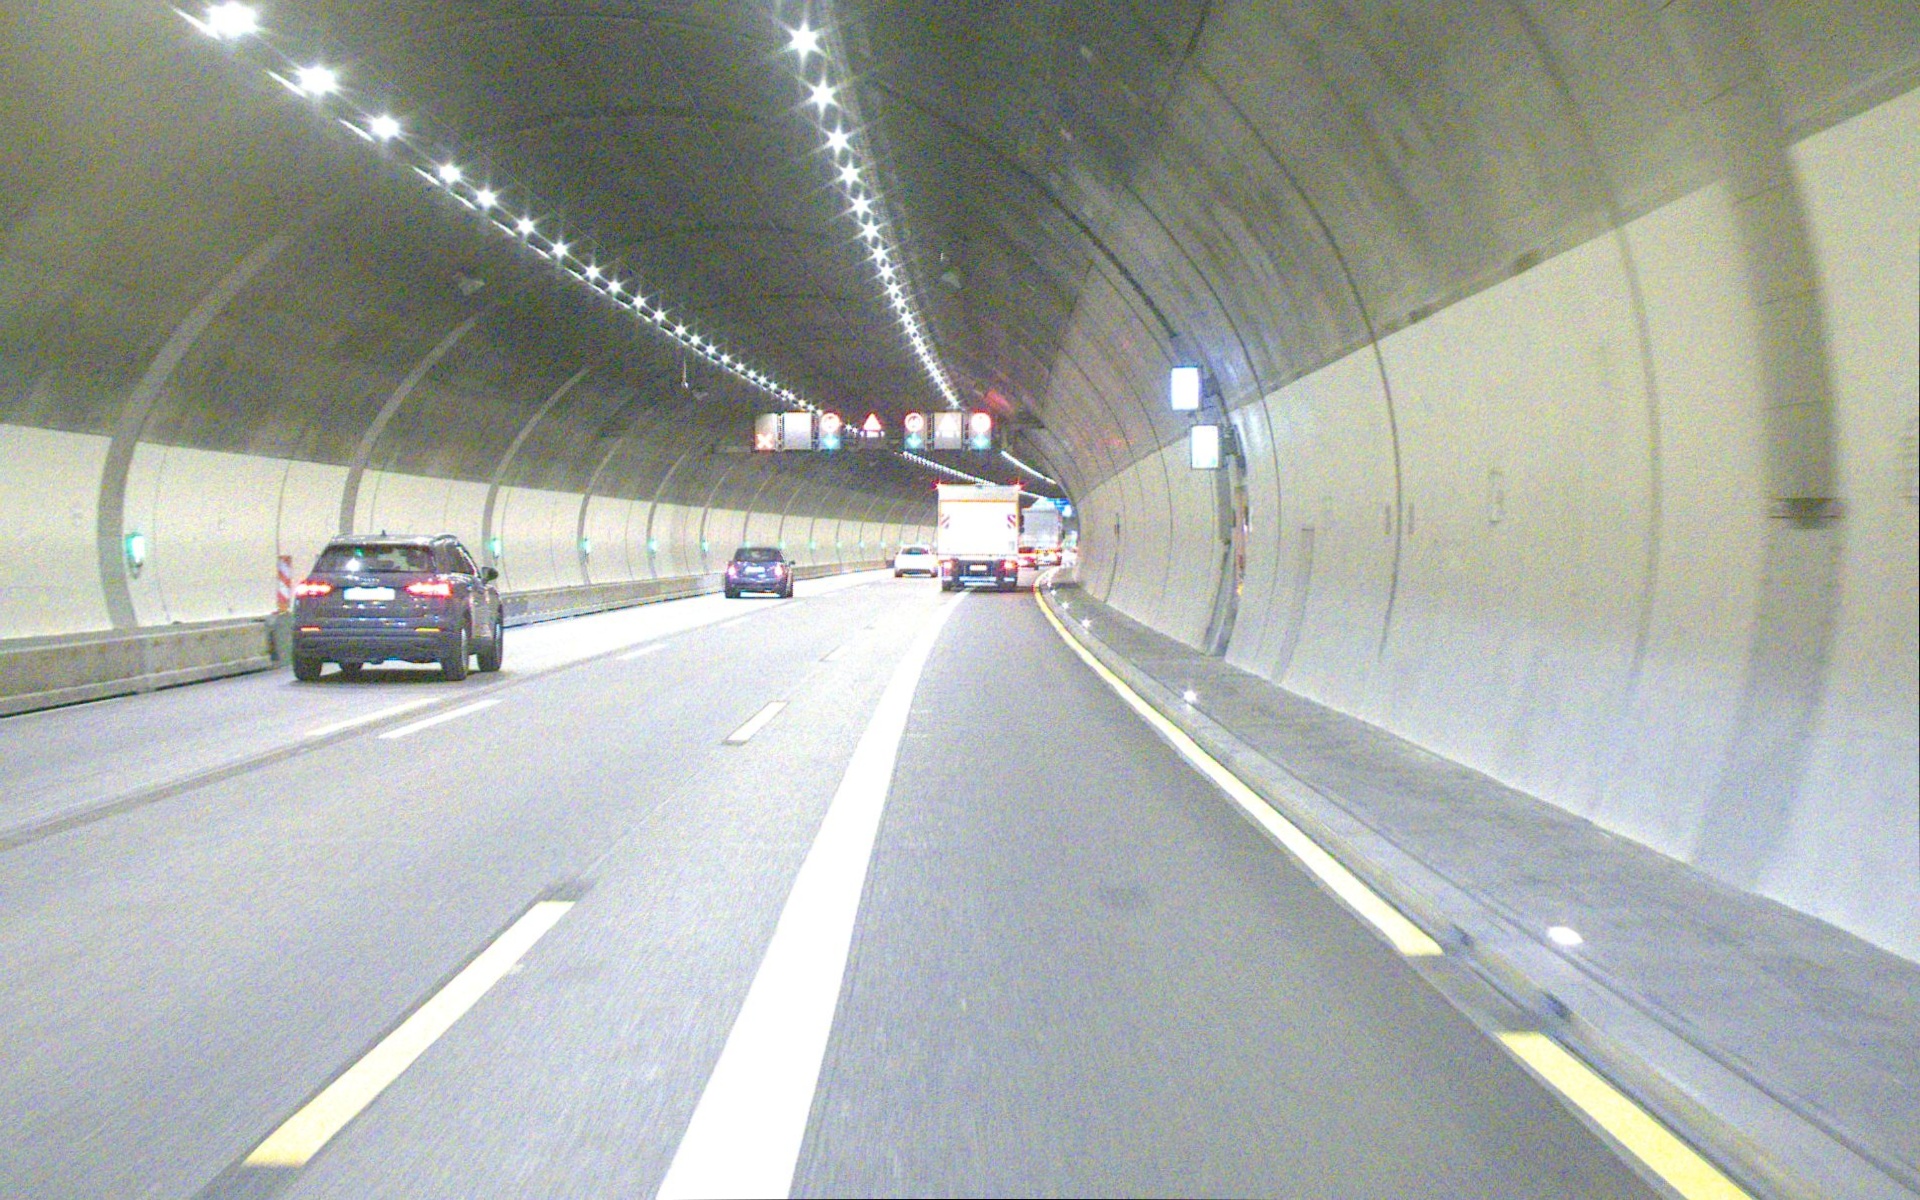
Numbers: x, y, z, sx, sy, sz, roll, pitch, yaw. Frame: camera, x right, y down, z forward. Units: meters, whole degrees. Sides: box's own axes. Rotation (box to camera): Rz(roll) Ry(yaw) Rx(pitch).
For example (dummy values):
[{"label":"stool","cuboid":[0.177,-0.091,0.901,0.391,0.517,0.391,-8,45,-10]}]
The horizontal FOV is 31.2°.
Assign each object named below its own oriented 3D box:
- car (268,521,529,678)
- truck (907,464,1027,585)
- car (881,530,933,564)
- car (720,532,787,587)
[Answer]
[{"label":"car","cuboid":[-6.113,-0.030,37.985,1.993,1.535,4.742,3,1,1]},{"label":"truck","cuboid":[0.138,-2.483,113.280,3.592,3.638,10.723,3,1,-1]},{"label":"car","cuboid":[-2.352,-2.372,154.102,1.994,1.408,4.742,3,1,2]},{"label":"car","cuboid":[-5.642,-1.129,94.291,1.689,1.412,3.923,3,1,-2]}]
